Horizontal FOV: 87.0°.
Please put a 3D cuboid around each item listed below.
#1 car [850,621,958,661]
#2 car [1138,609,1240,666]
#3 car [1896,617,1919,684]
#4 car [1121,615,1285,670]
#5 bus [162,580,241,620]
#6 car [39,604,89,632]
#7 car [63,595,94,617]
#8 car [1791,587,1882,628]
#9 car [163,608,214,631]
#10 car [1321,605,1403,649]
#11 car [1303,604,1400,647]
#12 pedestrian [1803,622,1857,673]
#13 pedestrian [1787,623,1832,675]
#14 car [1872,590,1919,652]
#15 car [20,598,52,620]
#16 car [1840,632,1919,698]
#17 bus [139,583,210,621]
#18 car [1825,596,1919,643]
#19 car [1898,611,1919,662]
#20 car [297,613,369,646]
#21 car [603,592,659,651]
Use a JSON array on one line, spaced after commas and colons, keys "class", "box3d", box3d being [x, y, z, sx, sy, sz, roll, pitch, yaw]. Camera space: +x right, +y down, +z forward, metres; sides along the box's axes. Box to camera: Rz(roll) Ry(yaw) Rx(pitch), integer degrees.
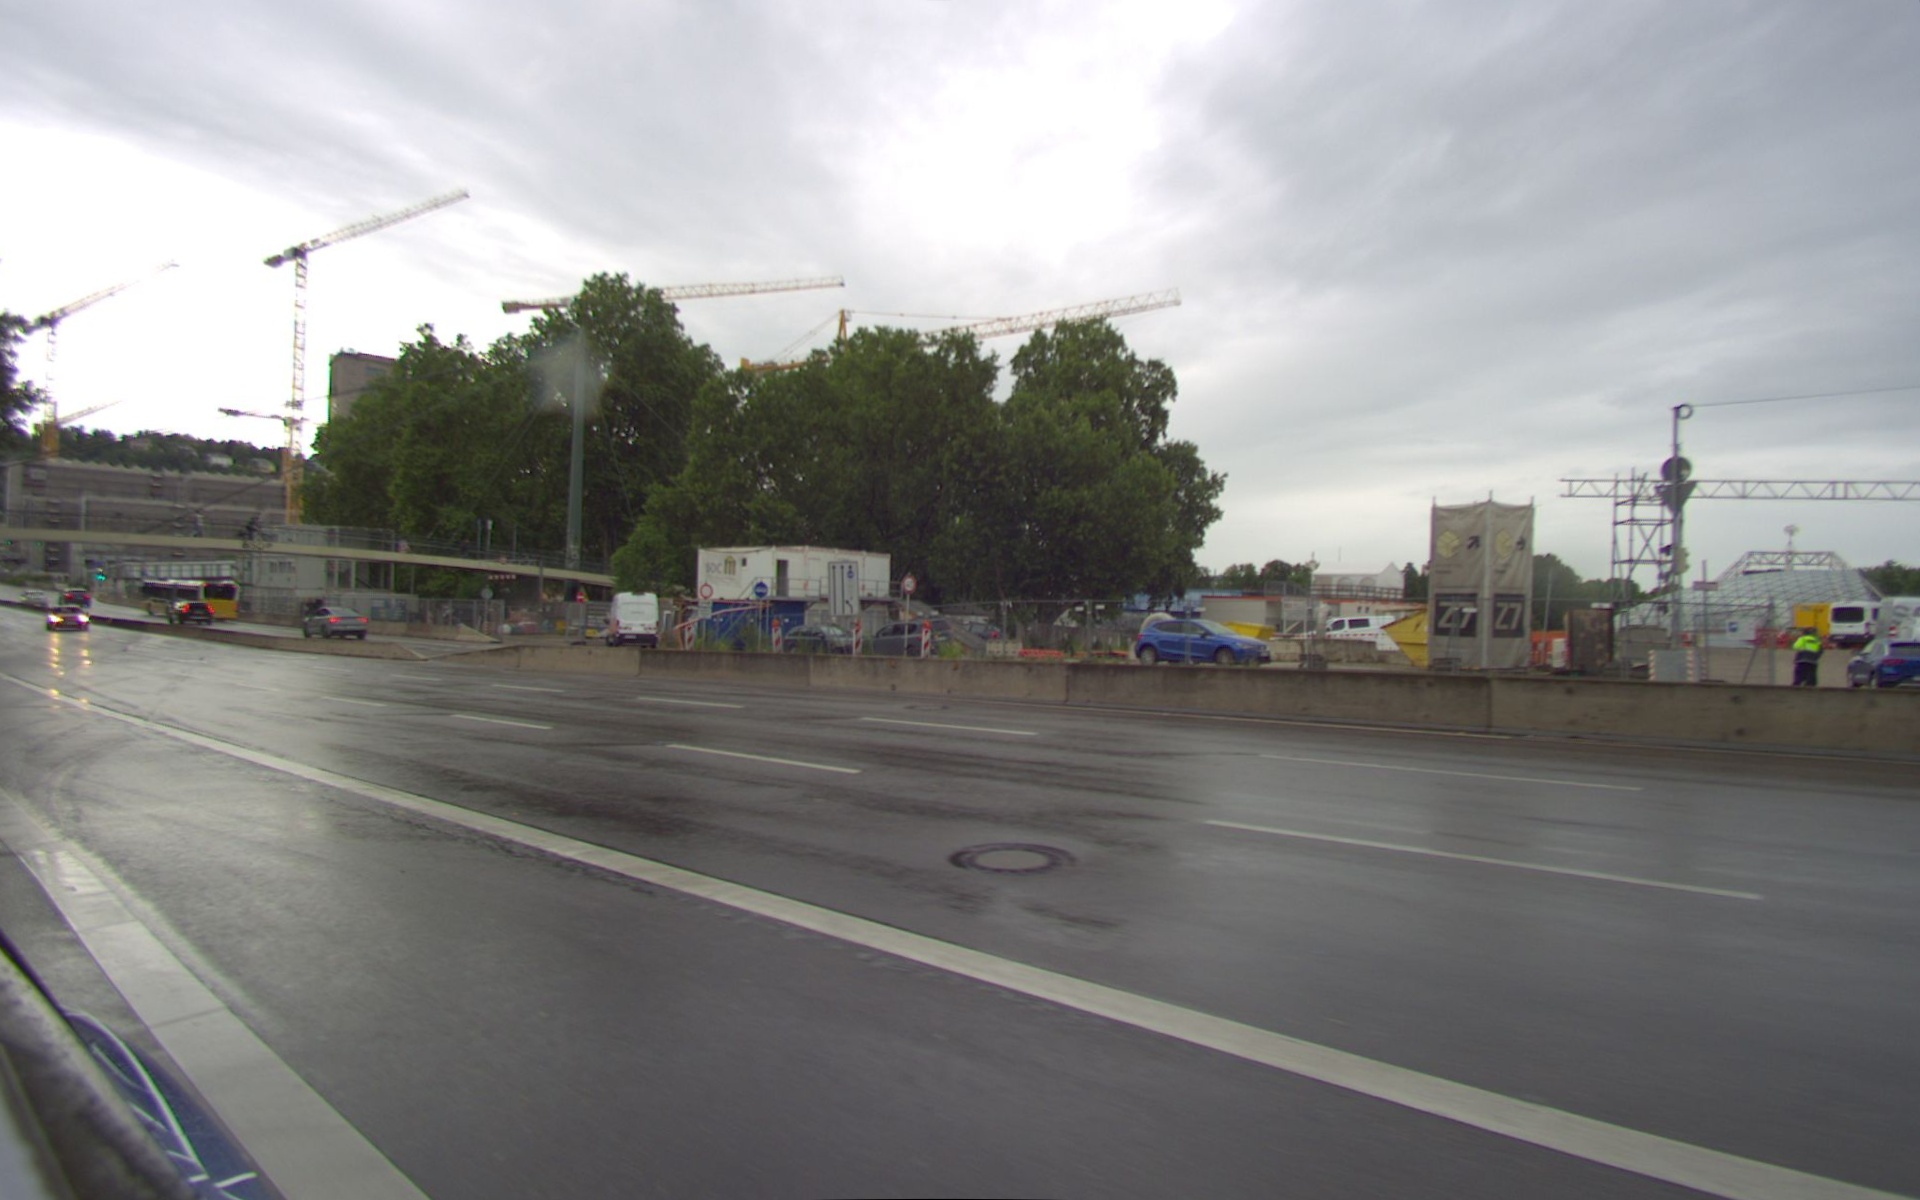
[{"class": "car", "box3d": [-2.257, 1.572, 39.617, 1.814, 1.501, 4.444, 2, -2, -43]}, {"class": "car", "box3d": [10.109, 1.648, 44.820, 3.998, 2.402, 1.973, -1, -2, 41]}, {"class": "car", "box3d": [30.452, 1.527, 29.700, 3.984, 1.955, 1.979, 0, -3, 30]}, {"class": "car", "box3d": [7.129, 1.213, 30.007, 1.814, 1.501, 4.442, 2, -2, -45]}, {"class": "bus", "box3d": [-60.215, 0.035, 80.240, 8.950, 2.963, 3.228, -1, 0, 41]}, {"class": "car", "box3d": [-52.627, 1.082, 59.444, 3.997, 1.564, 1.668, -1, -2, 41]}, {"class": "car", "box3d": [-85.450, 0.588, 98.076, 4.002, 2.029, 1.971, -1, -2, 45]}, {"class": "car", "box3d": [52.602, 0.473, 60.758, 3.933, 2.402, 2.179, 1, -2, -14]}, {"class": "car", "box3d": [-53.199, 1.349, 69.735, 4.436, 1.588, 1.817, -1, -2, 40]}, {"class": "car", "box3d": [22.446, 1.507, 56.661, 3.961, 2.402, 1.991, 0, -2, 14]}, {"class": "car", "box3d": [22.846, 1.491, 59.263, 4.886, 2.402, 1.997, 0, -2, 5]}, {"class": "pedestrian", "box3d": [23.651, 1.284, 27.532, 0.735, 1.363, 0.837, 0, -2, 4]}, {"class": "pedestrian", "box3d": [22.767, 1.303, 27.119, 0.734, 1.363, 0.838, 1, -2, -44]}, {"class": "car", "box3d": [41.876, 0.891, 42.546, 4.800, 2.610, 2.258, -1, -2, 29]}, {"class": "car", "box3d": [-87.405, 0.897, 95.689, 4.002, 2.029, 1.971, -1, -2, 45]}, {"class": "car", "box3d": [24.901, 1.655, 26.398, 1.990, 1.519, 3.963, -1, -1, 27]}, {"class": "bus", "box3d": [-66.939, 0.182, 86.177, 8.950, 3.079, 3.196, -1, 0, 41]}, {"class": "car", "box3d": [47.616, 1.024, 52.526, 3.933, 2.402, 2.174, 1, -2, -14]}, {"class": "car", "box3d": [38.680, 1.439, 38.506, 3.984, 1.955, 1.979, 0, -3, 30]}, {"class": "car", "box3d": [-31.770, 1.469, 51.242, 4.436, 1.588, 1.817, -1, -2, 40]}, {"class": "car", "box3d": [-16.303, 1.088, 50.026, 2.044, 2.759, 4.608, 1, -2, -25]}]
